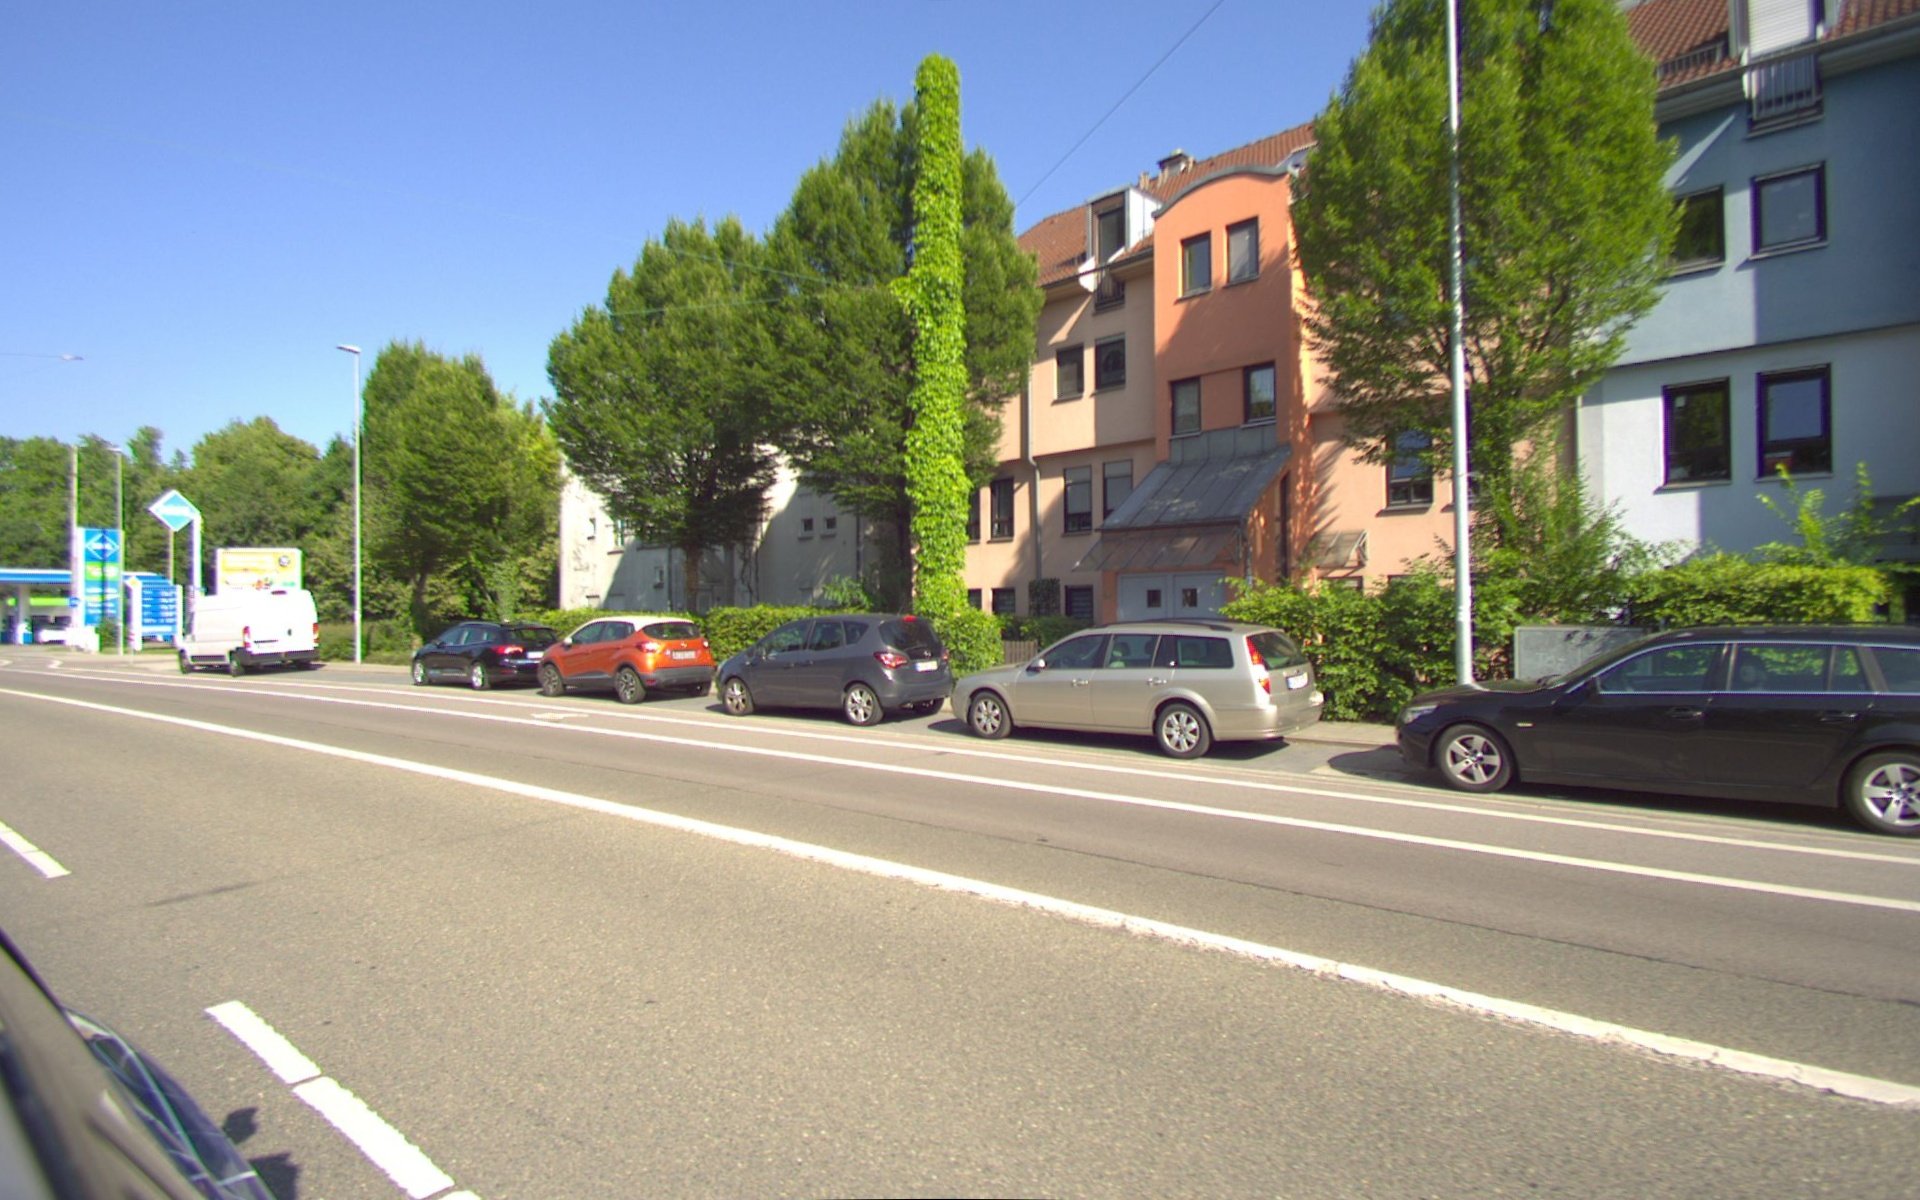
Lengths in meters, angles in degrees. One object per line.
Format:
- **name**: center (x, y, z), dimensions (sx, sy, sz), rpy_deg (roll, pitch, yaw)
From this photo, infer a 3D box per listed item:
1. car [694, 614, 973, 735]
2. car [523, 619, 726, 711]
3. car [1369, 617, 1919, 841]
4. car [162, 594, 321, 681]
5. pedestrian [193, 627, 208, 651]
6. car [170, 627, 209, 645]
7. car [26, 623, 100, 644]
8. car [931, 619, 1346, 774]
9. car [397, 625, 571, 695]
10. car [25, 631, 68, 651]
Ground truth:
- **car**: center (-2.059, 1.069, 15.875), dimensions (4.290, 1.585, 1.747), rpy_deg (-1, 1, 36)
- **car**: center (-6.576, 1.168, 19.654), dimensions (4.156, 1.586, 1.745), rpy_deg (-1, -1, 38)
- **car**: center (6.257, 0.934, 8.529), dimensions (4.907, 1.483, 1.692), rpy_deg (-2, 1, 42)
- **car**: center (-22.811, 1.147, 32.037), dimensions (6.169, 2.476, 2.134), rpy_deg (-2, 1, 35)
- **pedestrian**: center (-56.084, 2.889, 74.734), dimensions (0.812, 1.726, 1.068), rpy_deg (1, -2, -42)
- **car**: center (-67.015, 3.115, 88.013), dimensions (3.995, 1.457, 1.720), rpy_deg (-1, -2, 38)
- **car**: center (-84.002, 3.138, 94.821), dimensions (1.855, 1.955, 5.020), rpy_deg (-2, -2, 39)
- **car**: center (2.022, 1.021, 12.482), dimensions (4.840, 1.482, 1.695), rpy_deg (0, 1, 40)
- **car**: center (-10.888, 1.313, 23.020), dimensions (4.706, 1.435, 1.636), rpy_deg (-2, -2, 38)
- **car**: center (-73.182, 3.273, 81.041), dimensions (4.267, 1.502, 1.721), rpy_deg (-1, -2, 37)
